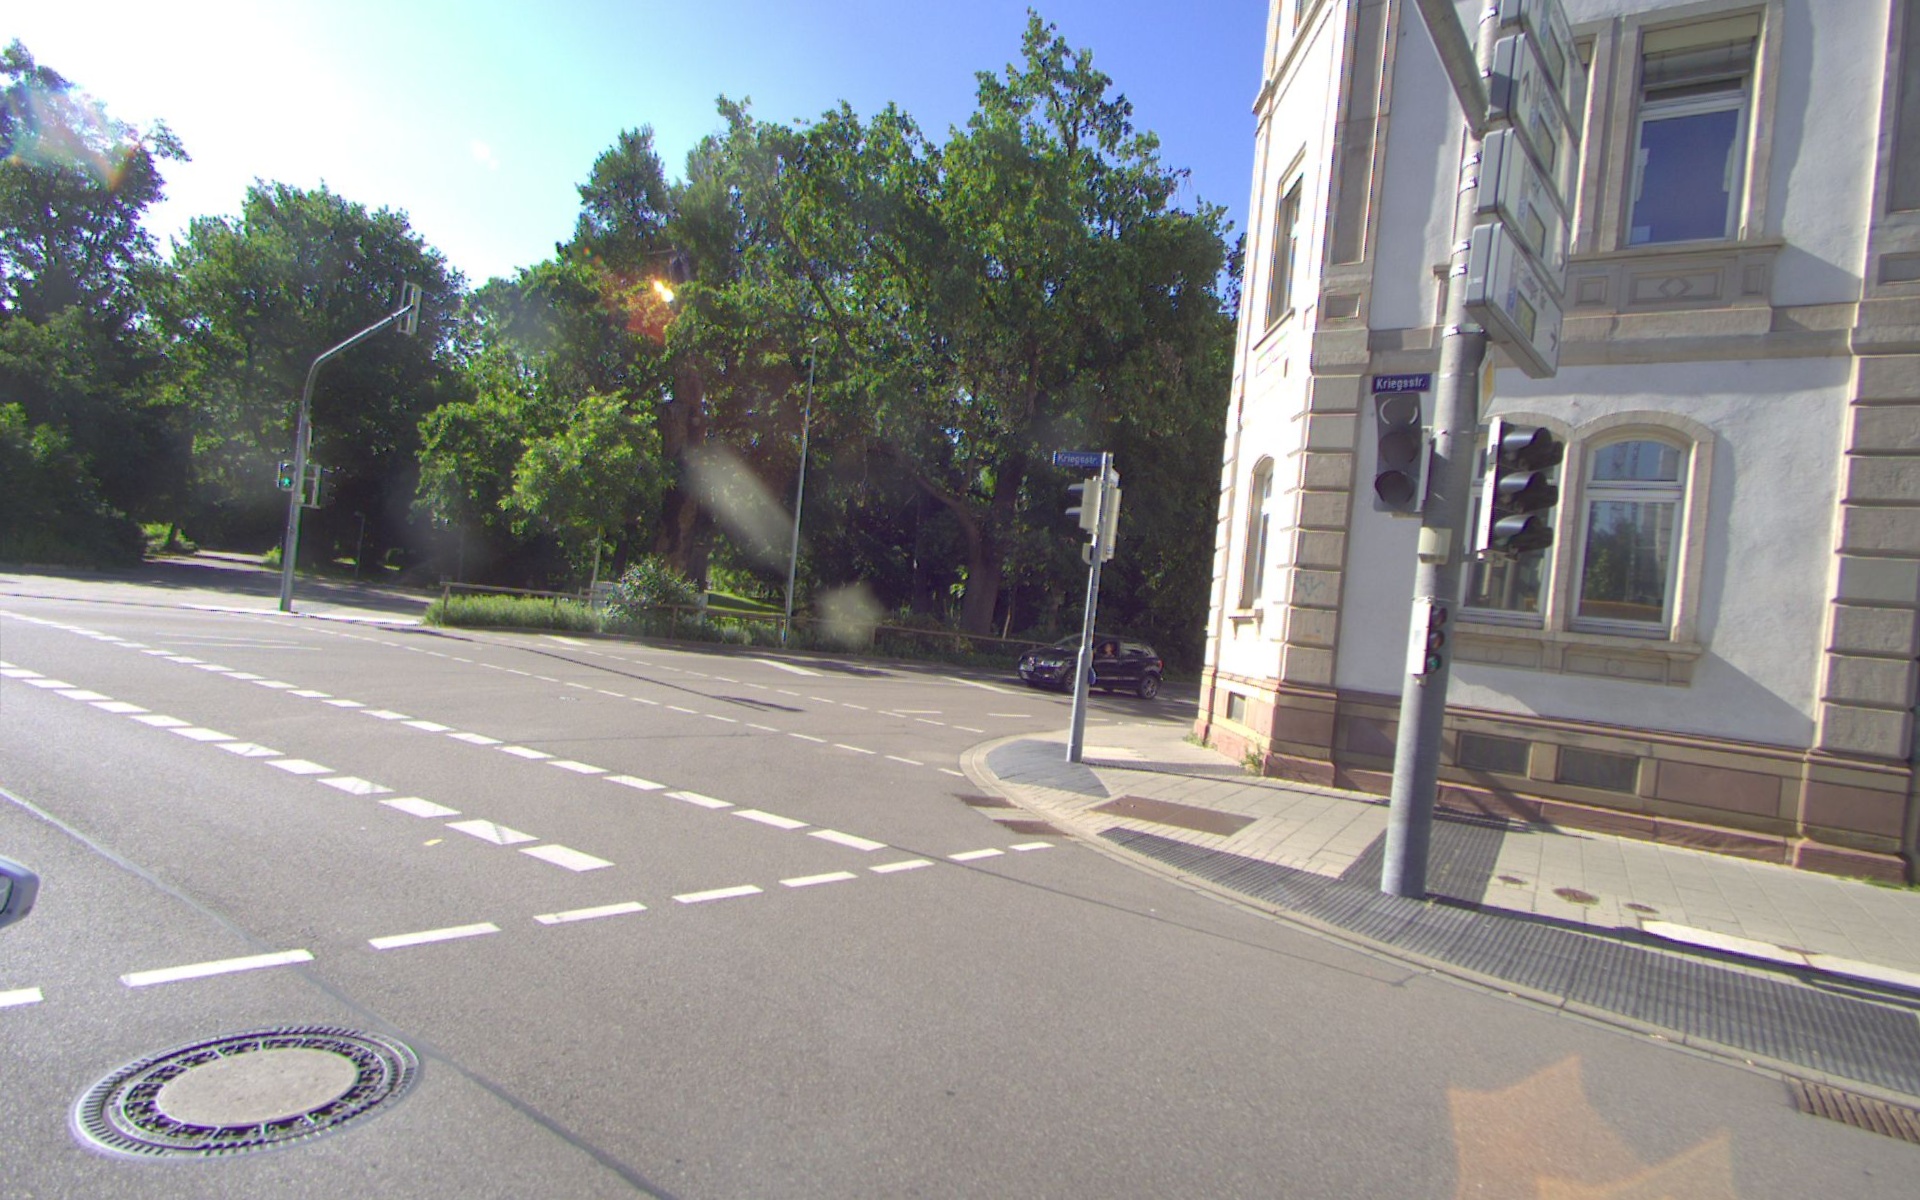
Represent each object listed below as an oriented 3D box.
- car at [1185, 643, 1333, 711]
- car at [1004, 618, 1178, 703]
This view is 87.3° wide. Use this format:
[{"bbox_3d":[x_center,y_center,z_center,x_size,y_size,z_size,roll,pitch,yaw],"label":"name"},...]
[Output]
[{"bbox_3d":[8.540,2.209,28.646,3.963,1.456,1.843,7,0,-35],"label":"car"},{"bbox_3d":[3.221,1.494,24.455,3.965,1.500,1.715,8,1,-36],"label":"car"}]
